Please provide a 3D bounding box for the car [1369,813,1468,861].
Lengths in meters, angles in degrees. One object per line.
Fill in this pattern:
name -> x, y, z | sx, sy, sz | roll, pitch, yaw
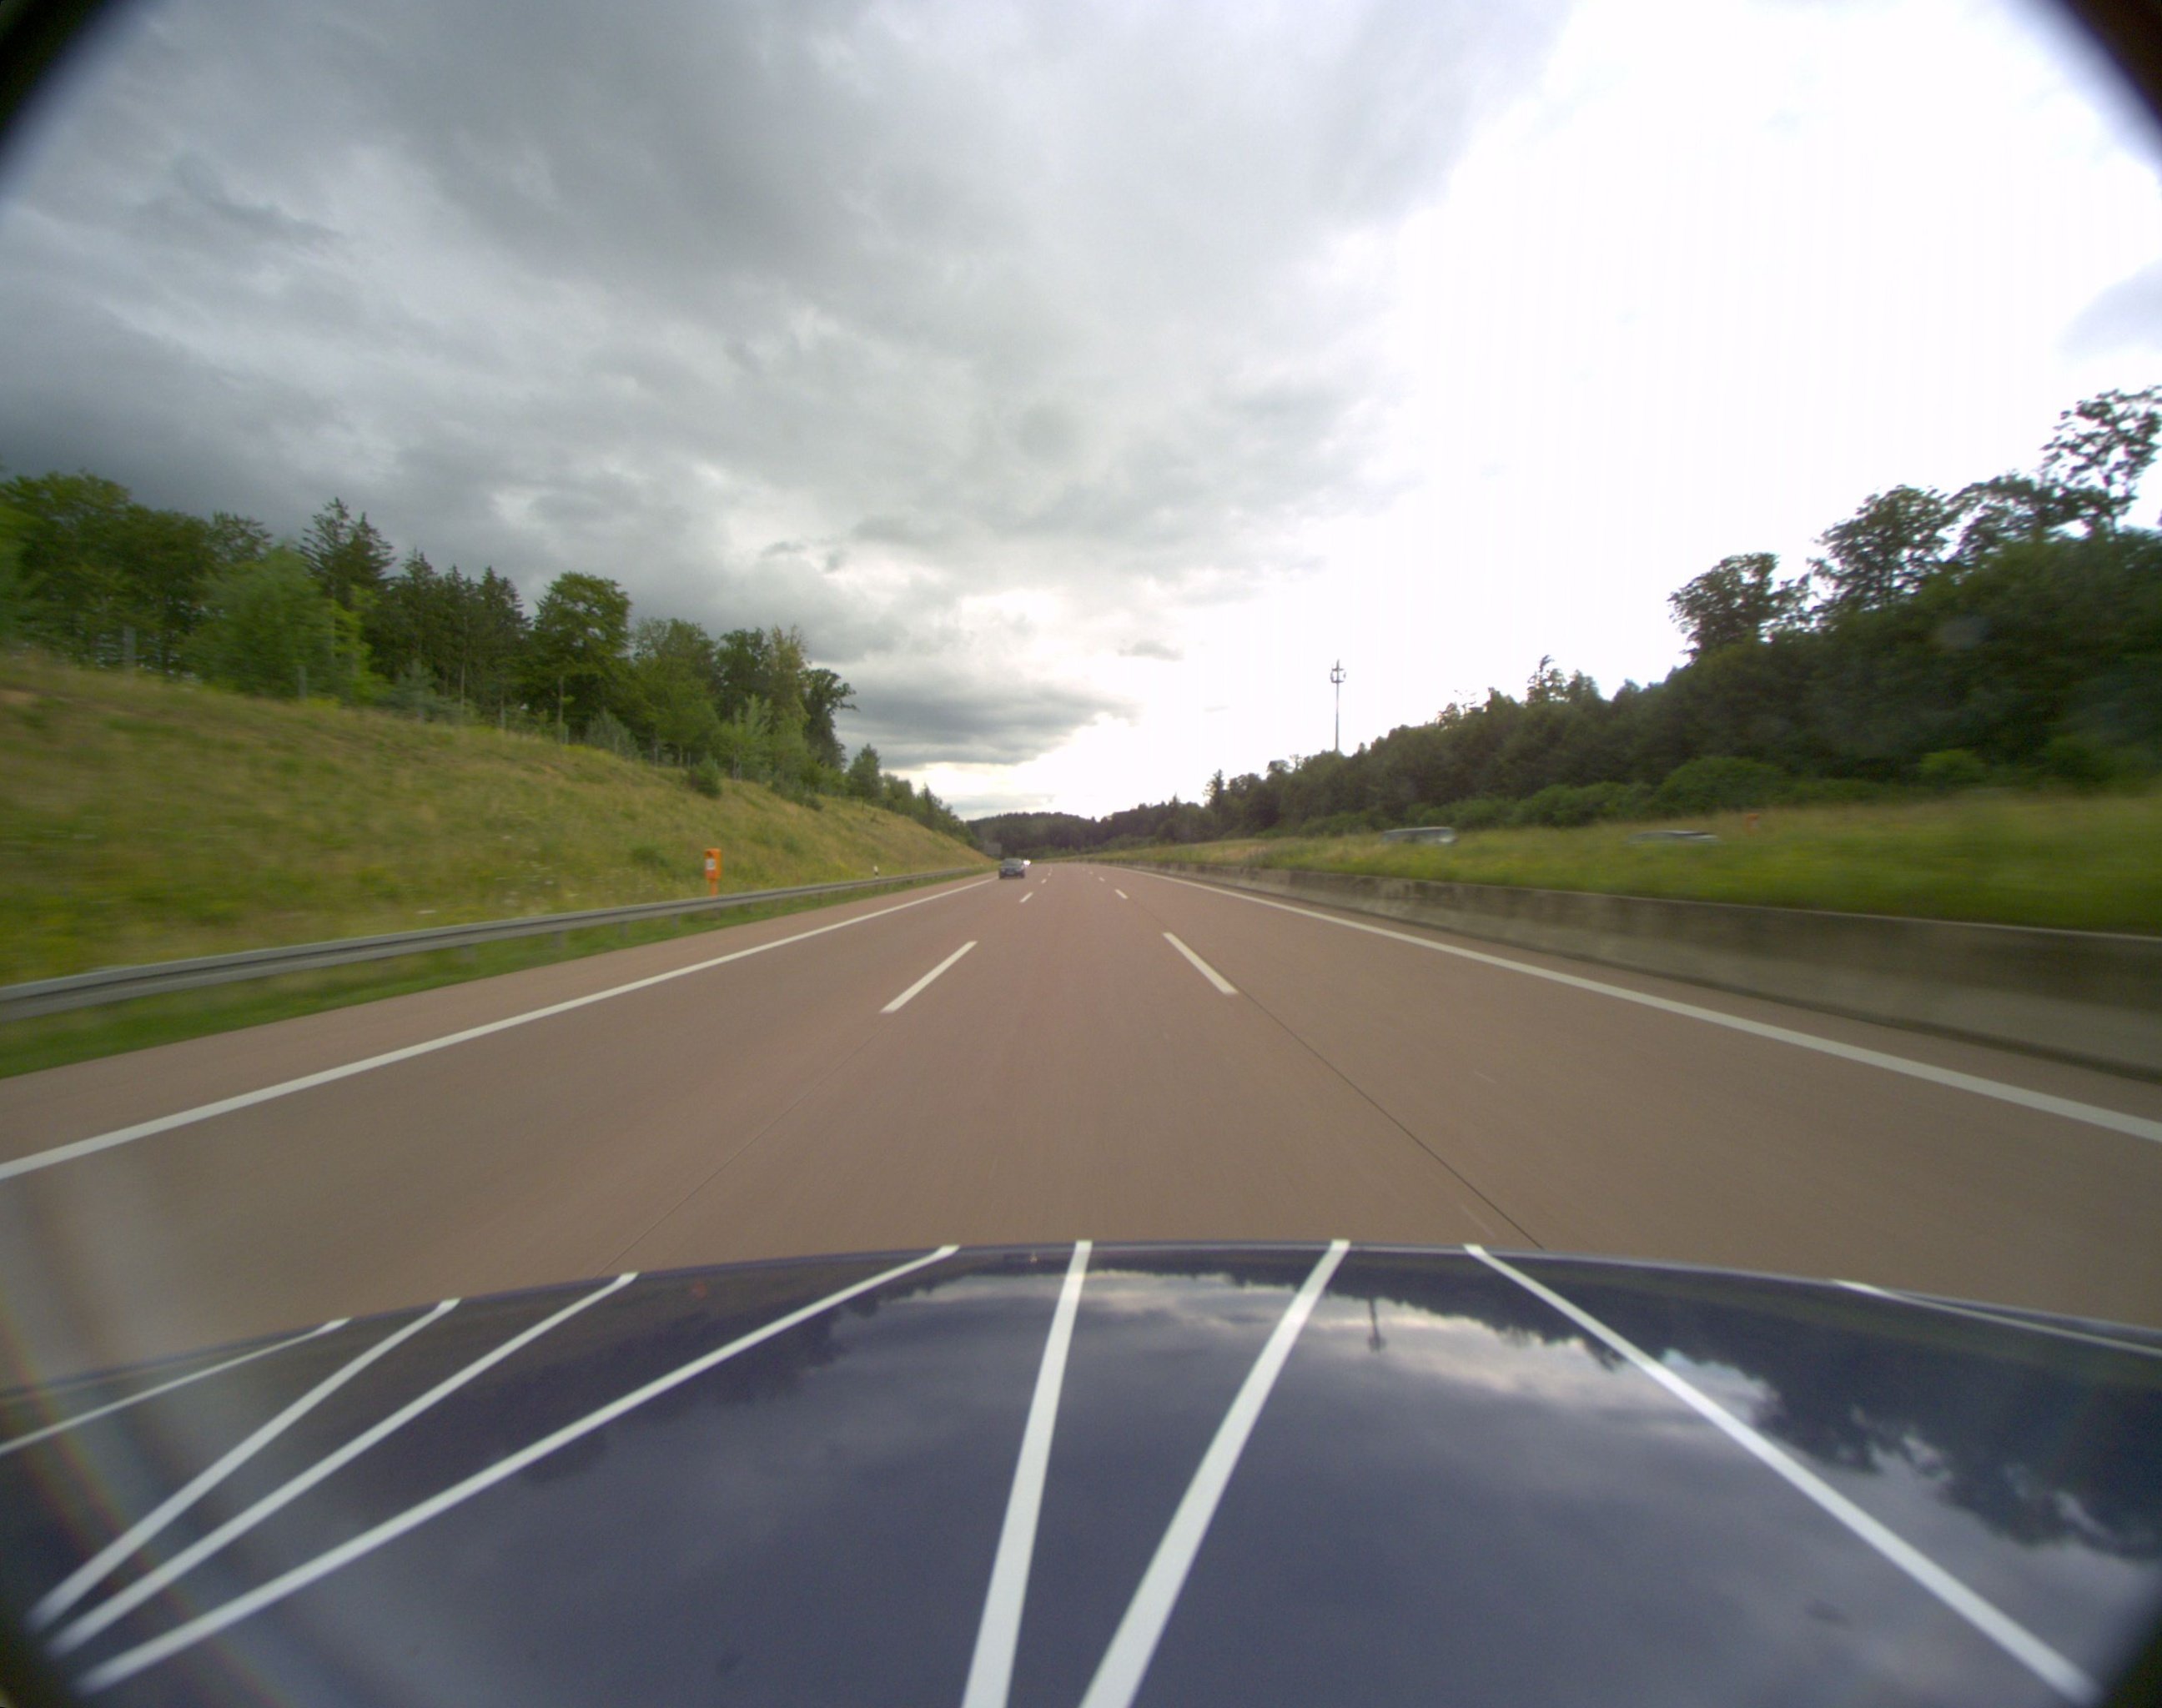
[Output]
car -> 14.318, -0.743, 32.601 | 1.880, 1.807, 5.223 | -2, 2, 0

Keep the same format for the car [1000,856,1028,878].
car -> -4.821, 0.899, 55.347 | 1.676, 1.395, 4.232 | -1, 1, -1

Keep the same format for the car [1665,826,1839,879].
car -> 21.680, -0.106, 24.816 | 1.737, 1.516, 4.410 | -2, 2, -1
